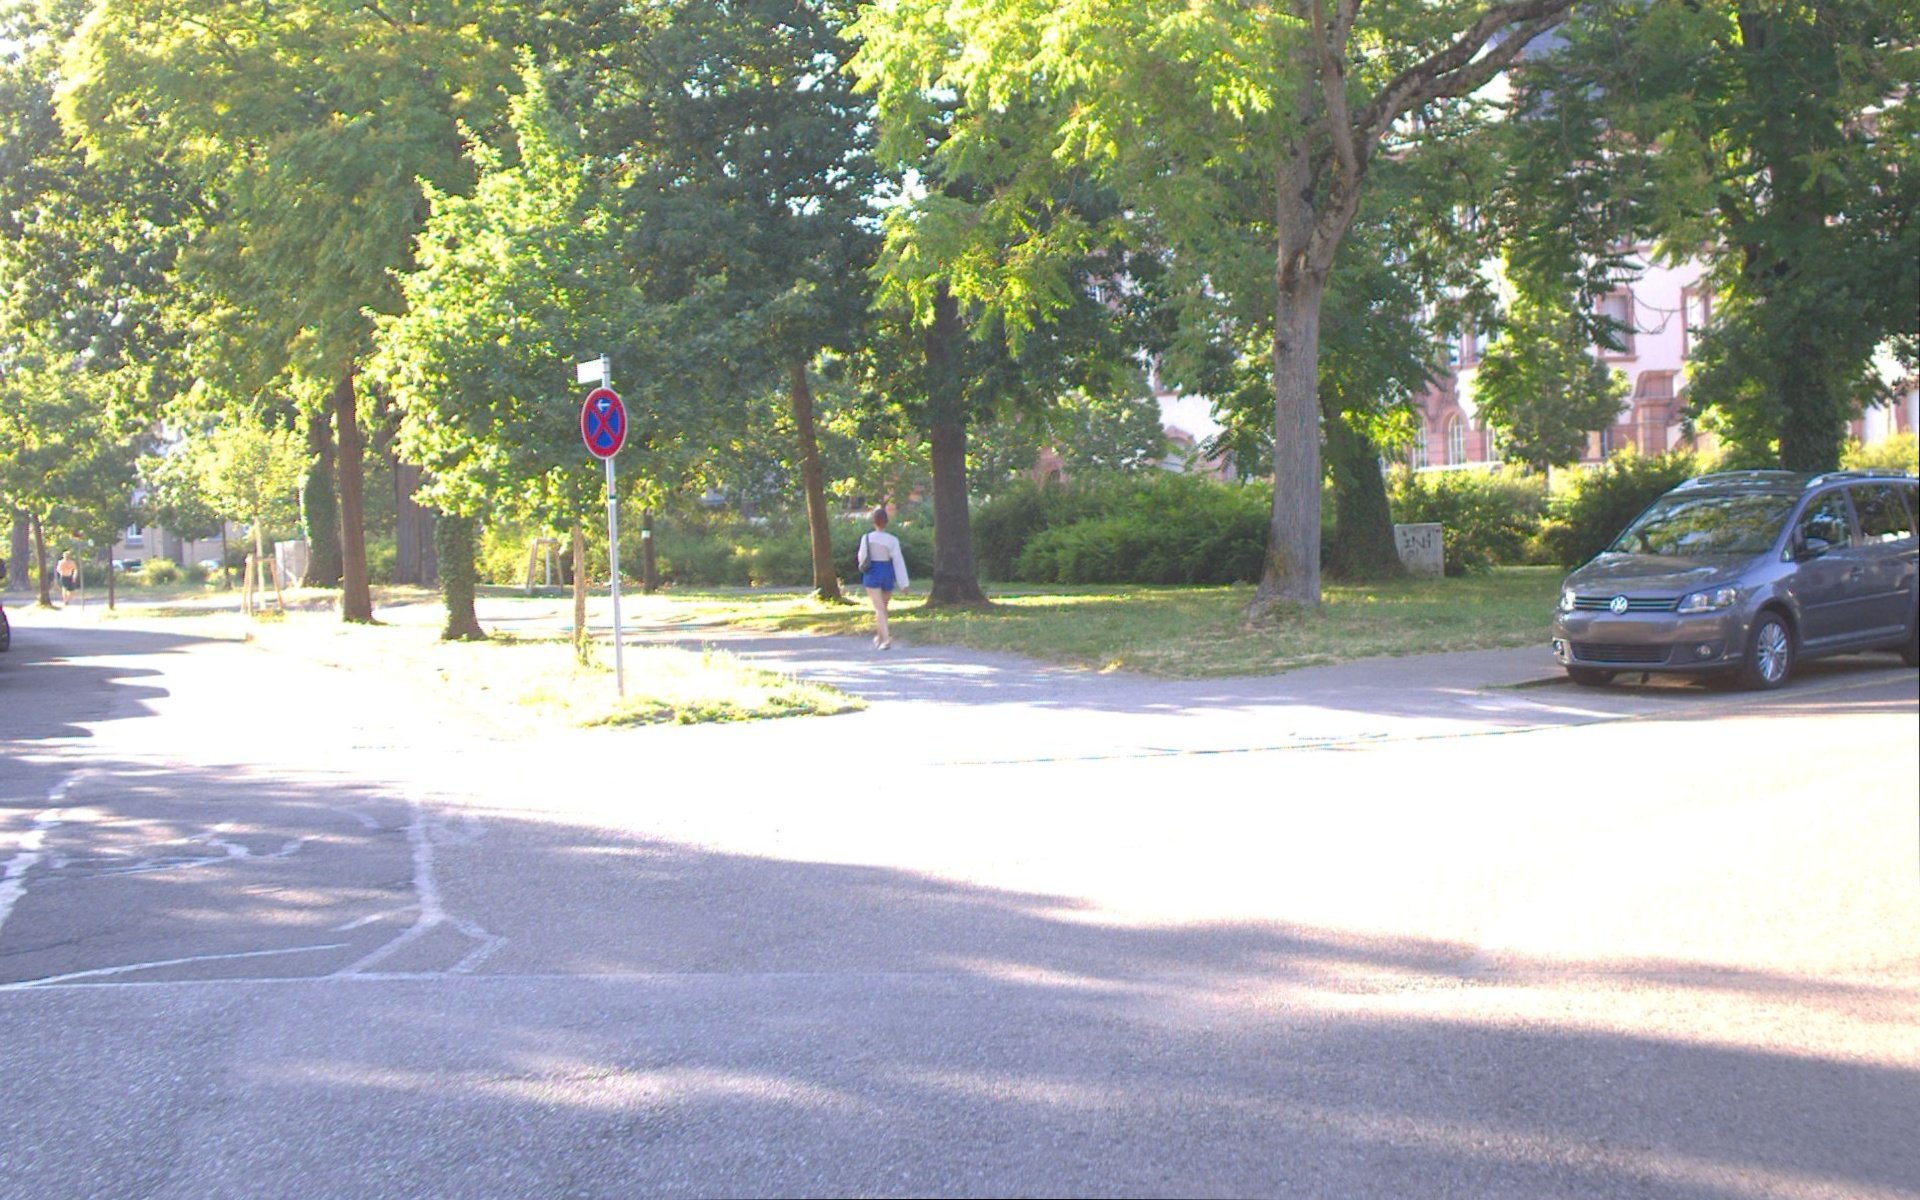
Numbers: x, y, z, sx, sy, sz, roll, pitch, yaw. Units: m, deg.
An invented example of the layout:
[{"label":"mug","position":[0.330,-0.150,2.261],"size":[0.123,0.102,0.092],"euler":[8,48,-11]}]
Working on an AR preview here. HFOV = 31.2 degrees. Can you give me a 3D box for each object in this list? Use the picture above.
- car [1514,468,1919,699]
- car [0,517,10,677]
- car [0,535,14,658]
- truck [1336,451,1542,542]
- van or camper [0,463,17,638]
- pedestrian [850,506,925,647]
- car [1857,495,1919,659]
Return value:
[{"label":"car","position":[6.475,-0.205,27.930],"size":[1.806,1.670,4.310],"euler":[2,4,43]},{"label":"car","position":[-12.507,-0.007,41.225],"size":[1.850,1.939,4.842],"euler":[-2,2,-13]},{"label":"car","position":[-16.103,-0.053,54.532],"size":[1.850,1.879,4.145],"euler":[-2,2,-18]},{"label":"truck","position":[16.916,-3.650,122.026],"size":[2.604,3.019,8.008],"euler":[-3,2,-33]},{"label":"van or camper","position":[-17.541,-0.839,59.757],"size":[2.089,2.898,6.334],"euler":[-2,2,-15]},{"label":"pedestrian","position":[-0.832,-0.274,39.305],"size":[0.773,1.569,0.768],"euler":[-2,1,-3]},{"label":"car","position":[9.688,-0.261,31.502],"size":[1.391,1.418,3.418],"euler":[2,4,43]}]
